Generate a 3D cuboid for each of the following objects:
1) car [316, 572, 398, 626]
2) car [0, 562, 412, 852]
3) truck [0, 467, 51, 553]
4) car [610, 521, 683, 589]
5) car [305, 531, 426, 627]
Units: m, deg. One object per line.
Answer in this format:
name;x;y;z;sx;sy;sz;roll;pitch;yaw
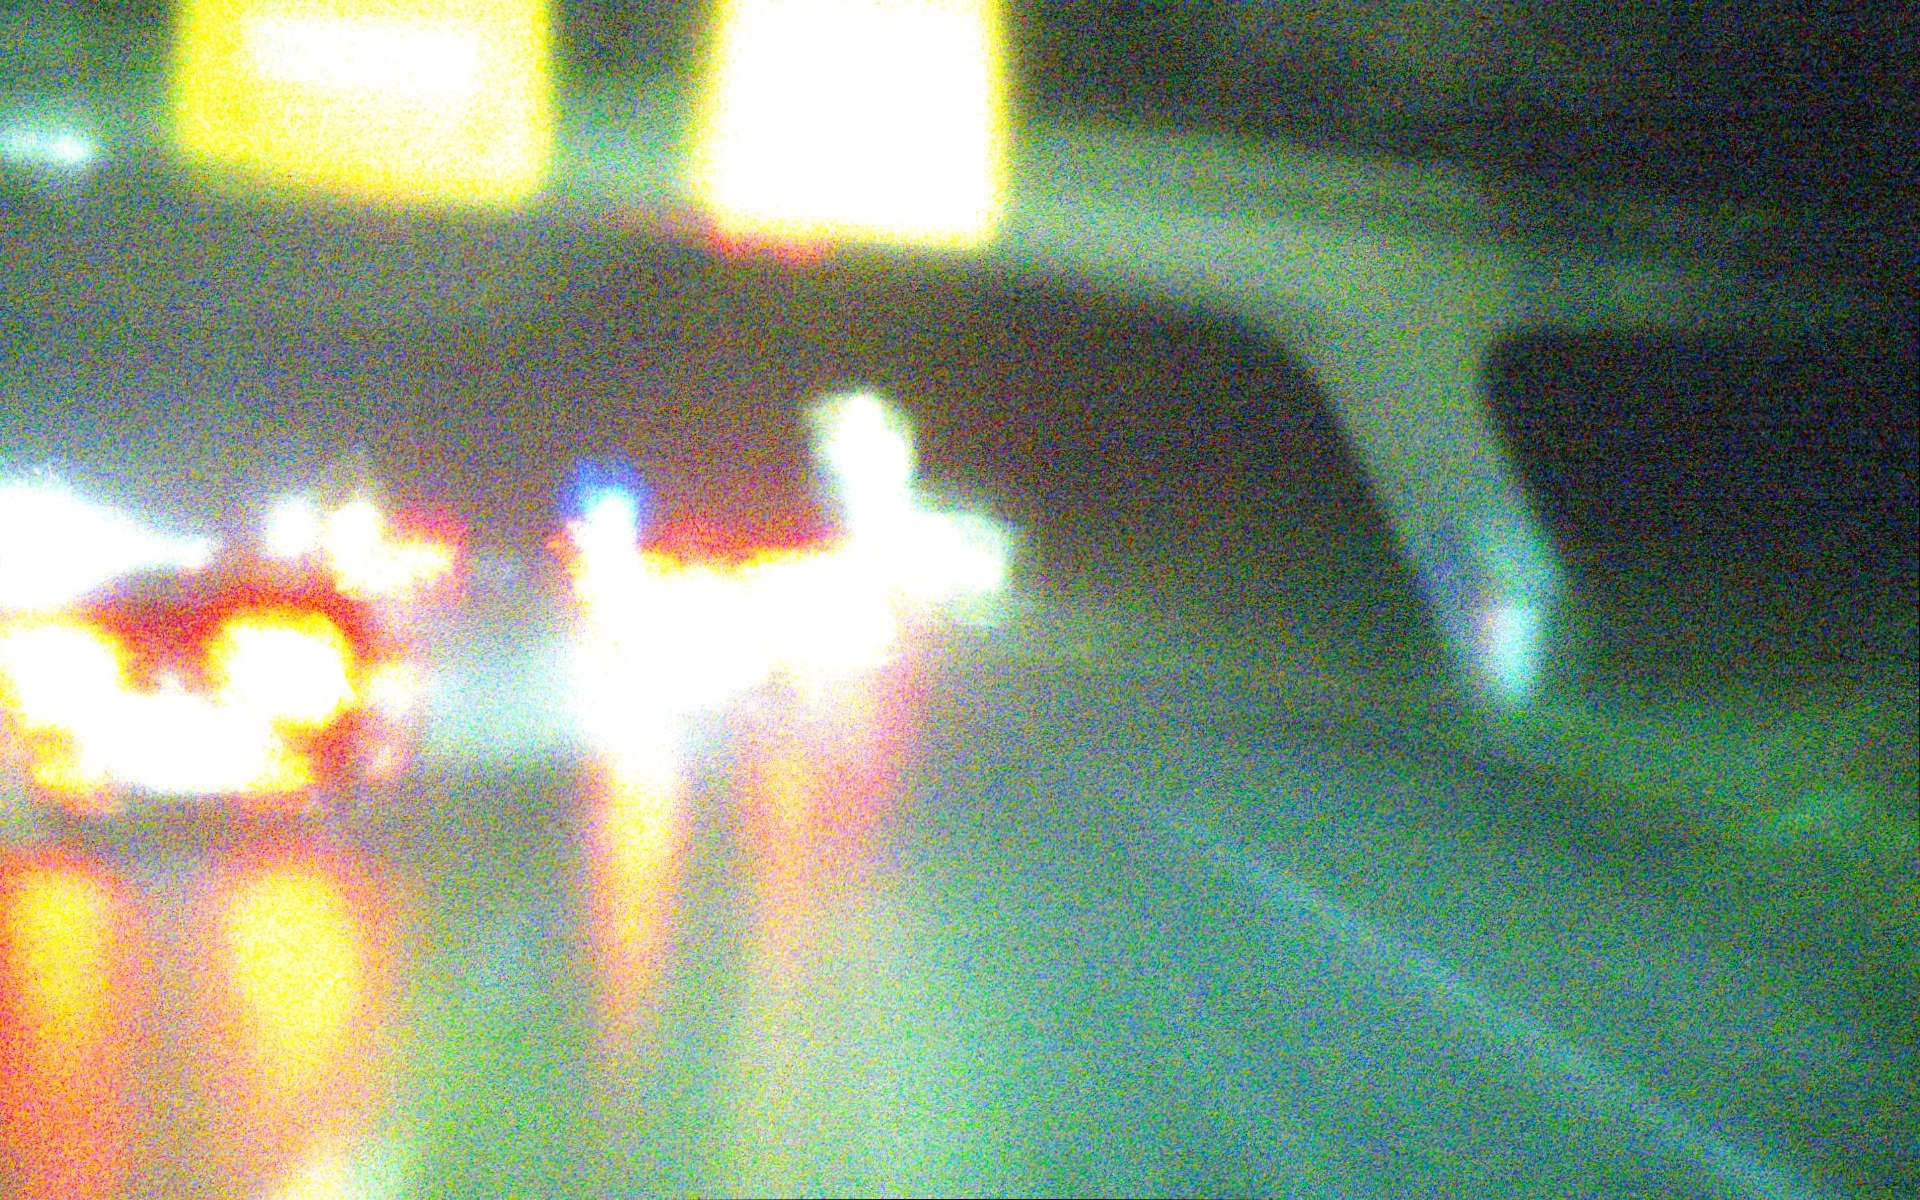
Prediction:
car;-18.262;-0.039;104.224;1.895;1.539;4.000;1;0;-2
car;-4.285;0.526;18.922;1.962;1.376;4.049;2;0;-2
truck;-39.712;-3.774;144.806;2.603;3.446;4.642;1;0;-16
car;-9.645;-1.360;106.101;1.993;2.007;4.000;1;0;-2
car;-10.158;-0.352;58.955;1.892;1.545;4.001;1;0;-8
